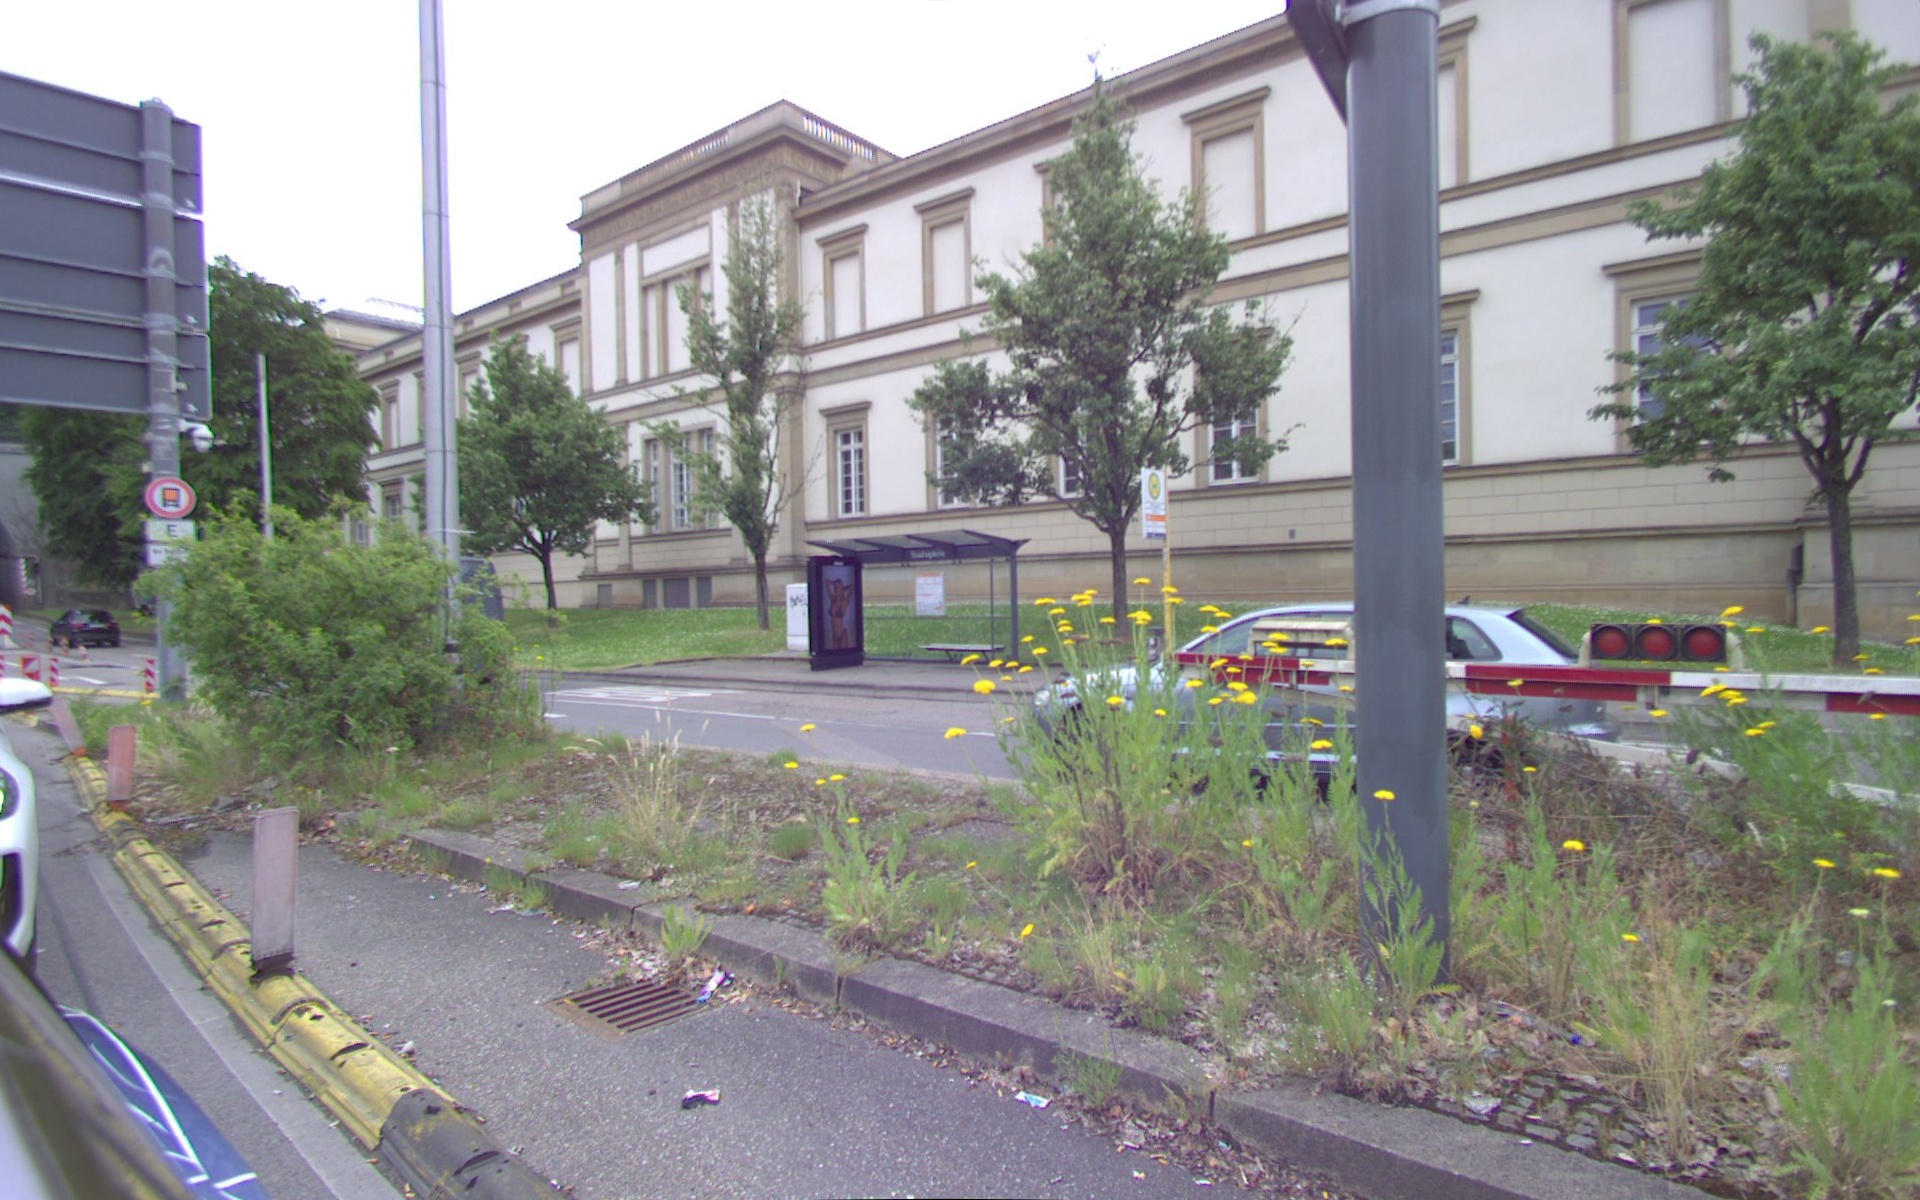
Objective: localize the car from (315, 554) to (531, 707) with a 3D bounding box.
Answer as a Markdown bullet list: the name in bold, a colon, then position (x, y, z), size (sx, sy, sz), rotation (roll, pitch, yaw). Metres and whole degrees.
- **car**: position (-10.268, 0.529, 19.177), size (4.758, 2.527, 2.174), rotation (-1, 0, 43)

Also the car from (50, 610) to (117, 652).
- **car**: position (-38.710, 1.318, 44.659), size (4.001, 1.736, 1.920), rotation (-1, 0, 44)

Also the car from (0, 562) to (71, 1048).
- **car**: position (-5.143, 0.743, 4.018), size (3.668, 1.637, 1.962), rotation (-2, -1, 41)

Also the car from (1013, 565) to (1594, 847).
- **car**: position (2.481, 0.629, 7.611), size (3.789, 1.630, 1.761), rotation (-1, 0, 31)
